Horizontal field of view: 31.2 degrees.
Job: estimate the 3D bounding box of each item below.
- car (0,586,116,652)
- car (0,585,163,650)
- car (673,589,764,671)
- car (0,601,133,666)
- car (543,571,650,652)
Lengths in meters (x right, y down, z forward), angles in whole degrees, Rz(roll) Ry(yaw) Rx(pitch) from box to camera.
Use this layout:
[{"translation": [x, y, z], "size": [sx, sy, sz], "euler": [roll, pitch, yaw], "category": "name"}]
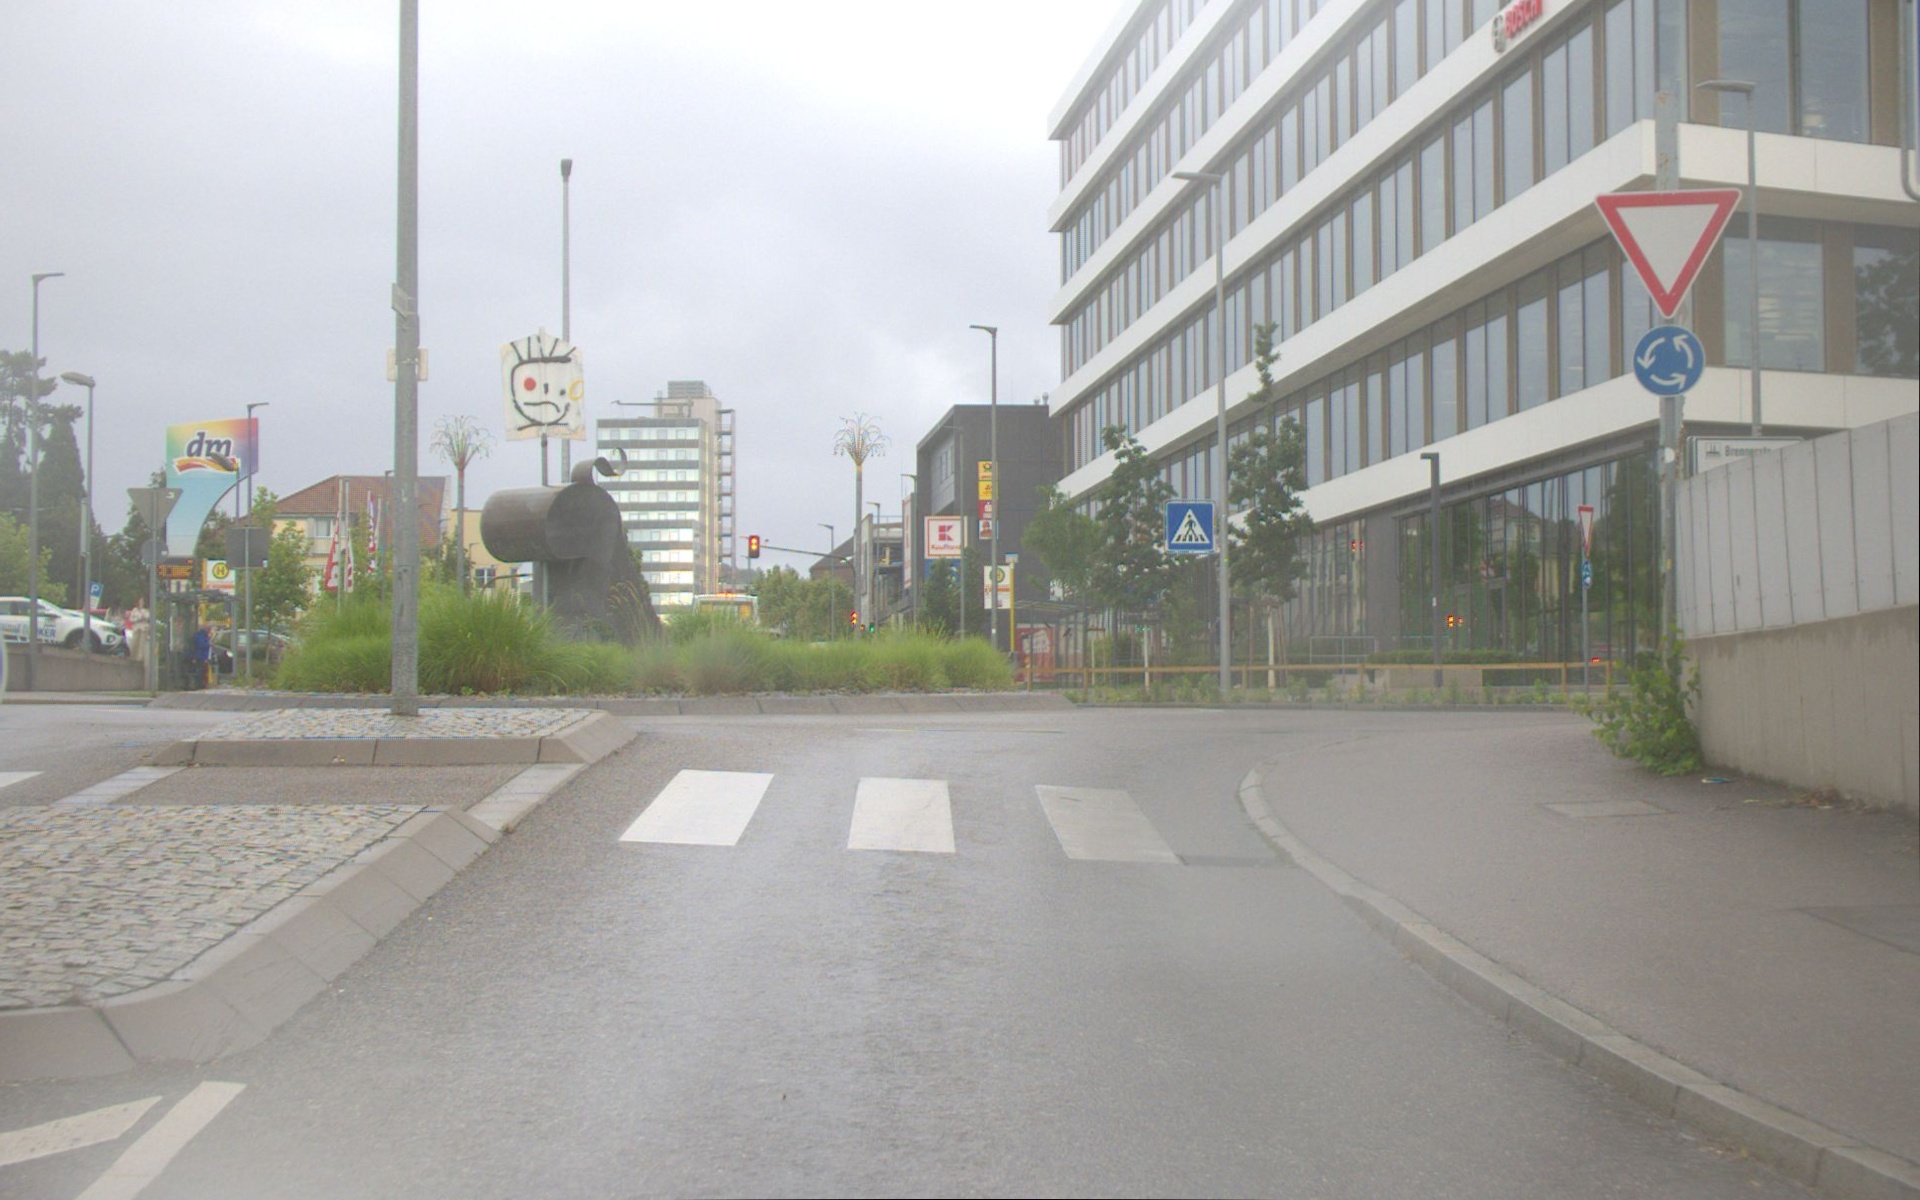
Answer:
[{"translation": [-22.114, 0.427, 81.155], "size": [4.020, 1.415, 1.769], "euler": [2, -3, -8], "category": "car"}, {"translation": [-21.999, 0.446, 85.465], "size": [4.021, 1.415, 1.768], "euler": [2, -3, -5], "category": "car"}, {"translation": [-6.155, 0.793, 88.128], "size": [1.993, 1.897, 3.999], "euler": [2, -3, 0], "category": "car"}, {"translation": [-22.257, 0.793, 83.350], "size": [4.021, 1.415, 1.768], "euler": [2, -3, -5], "category": "car"}, {"translation": [-6.882, 0.200, 65.389], "size": [1.595, 1.405, 3.500], "euler": [2, 1, 0], "category": "car"}]
